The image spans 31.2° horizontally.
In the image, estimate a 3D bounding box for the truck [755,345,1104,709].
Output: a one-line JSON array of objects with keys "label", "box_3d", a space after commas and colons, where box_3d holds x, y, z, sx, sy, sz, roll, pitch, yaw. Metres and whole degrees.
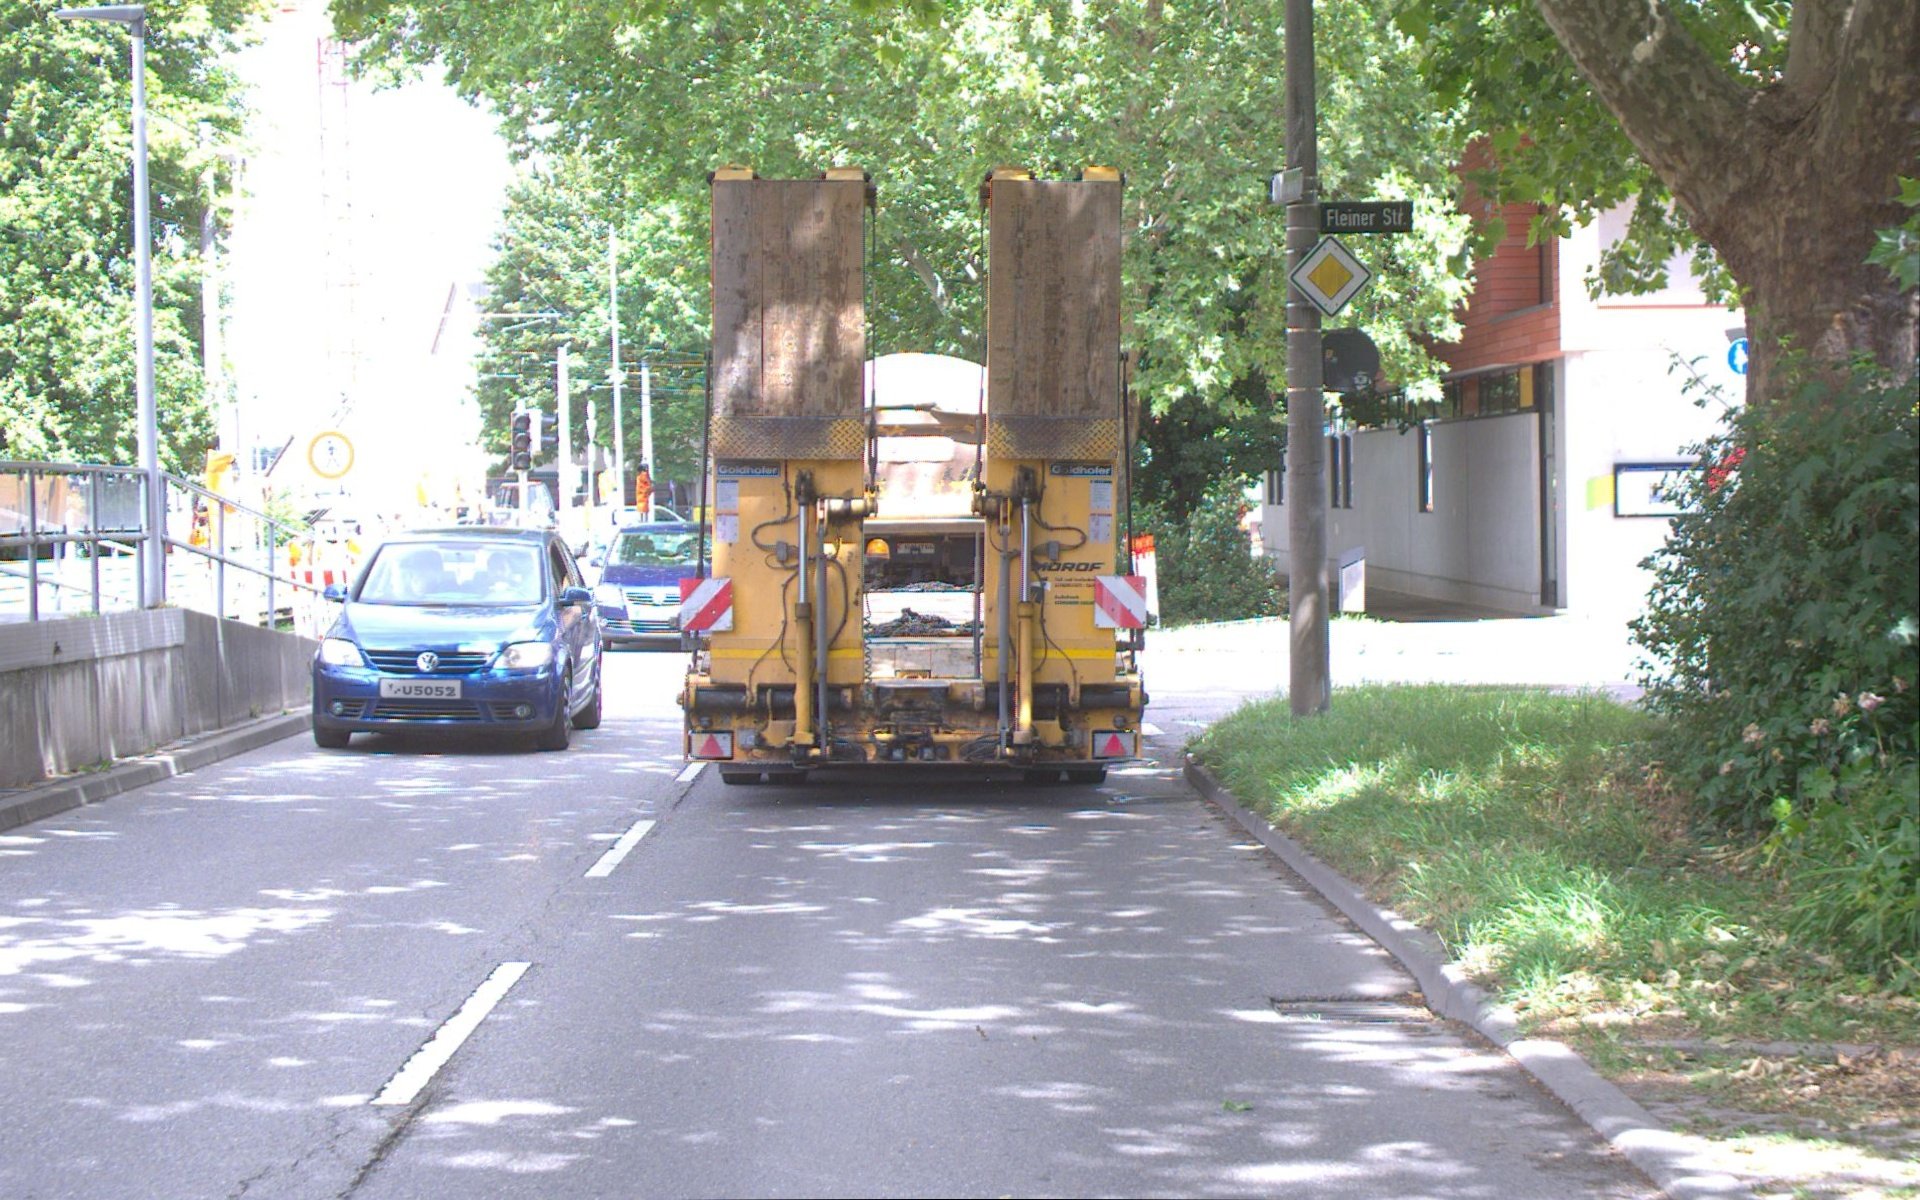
[{"label": "truck", "box_3d": [-0.267, -0.702, 33.483, 2.989, 3.124, 7.888, 0, 1, 0]}]

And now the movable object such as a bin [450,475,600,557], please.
[{"label": "movable object such as a bin", "box_3d": [-14.182, -2.743, 112.086, 4.373, 2.620, 2.217, 1, 1, 26]}]

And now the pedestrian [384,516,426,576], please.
[{"label": "pedestrian", "box_3d": [-15.340, -1.499, 95.025, 0.885, 1.639, 0.900, 0, 1, -31]}]

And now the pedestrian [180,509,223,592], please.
[{"label": "pedestrian", "box_3d": [-15.646, -1.026, 70.954, 0.699, 1.712, 0.867, 0, 1, -1]}]

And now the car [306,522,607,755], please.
[{"label": "car", "box_3d": [-3.587, 0.238, 25.058, 1.696, 1.559, 3.861, 0, 1, -1]}]

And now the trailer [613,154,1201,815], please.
[{"label": "trailer", "box_3d": [-0.298, -0.722, 24.007, 3.154, 3.540, 11.097, 0, 1, 0]}]

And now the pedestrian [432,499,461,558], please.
[{"label": "pedestrian", "box_3d": [-16.133, -2.252, 108.049, 0.834, 1.860, 0.888, 0, 1, -12]}]

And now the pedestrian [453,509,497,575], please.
[{"label": "pedestrian", "box_3d": [-12.993, -1.544, 92.040, 0.886, 1.754, 0.836, 1, 1, 20]}]

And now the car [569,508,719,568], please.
[{"label": "car", "box_3d": [-11.403, -2.235, 124.029, 5.088, 2.095, 1.977, 0, 1, -15]}]

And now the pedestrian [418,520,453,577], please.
[{"label": "pedestrian", "box_3d": [-15.157, -1.486, 99.336, 0.885, 1.639, 0.837, 0, 1, -17]}]

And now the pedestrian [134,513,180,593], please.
[{"label": "pedestrian", "box_3d": [-16.486, -0.968, 70.629, 0.732, 1.620, 0.867, 0, 1, -1]}]

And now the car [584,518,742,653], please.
[{"label": "car", "box_3d": [-3.765, -0.215, 44.133, 1.753, 1.627, 4.119, 1, 1, -1]}]

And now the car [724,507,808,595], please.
[{"label": "car", "box_3d": [-4.165, -1.033, 74.315, 1.753, 1.834, 4.646, 1, 0, -3]}]

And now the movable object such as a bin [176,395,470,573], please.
[{"label": "movable object such as a bin", "box_3d": [-19.942, -3.579, 107.441, 9.215, 5.396, 2.660, 1, 1, 26]}]

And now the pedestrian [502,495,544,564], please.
[{"label": "pedestrian", "box_3d": [-11.882, -1.926, 93.493, 0.885, 1.860, 0.837, 0, 1, -29]}]

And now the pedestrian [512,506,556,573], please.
[{"label": "pedestrian", "box_3d": [-11.953, -1.707, 96.468, 0.887, 1.860, 0.836, 1, 1, 28]}]

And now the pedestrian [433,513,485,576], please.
[{"label": "pedestrian", "box_3d": [-13.724, -1.525, 94.165, 1.108, 1.709, 0.888, -1, 2, -45]}]

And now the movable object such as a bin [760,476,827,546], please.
[{"label": "movable object such as a bin", "box_3d": [-4.816, -2.566, 99.523, 1.399, 2.007, 2.555, 0, 1, 10]}]
